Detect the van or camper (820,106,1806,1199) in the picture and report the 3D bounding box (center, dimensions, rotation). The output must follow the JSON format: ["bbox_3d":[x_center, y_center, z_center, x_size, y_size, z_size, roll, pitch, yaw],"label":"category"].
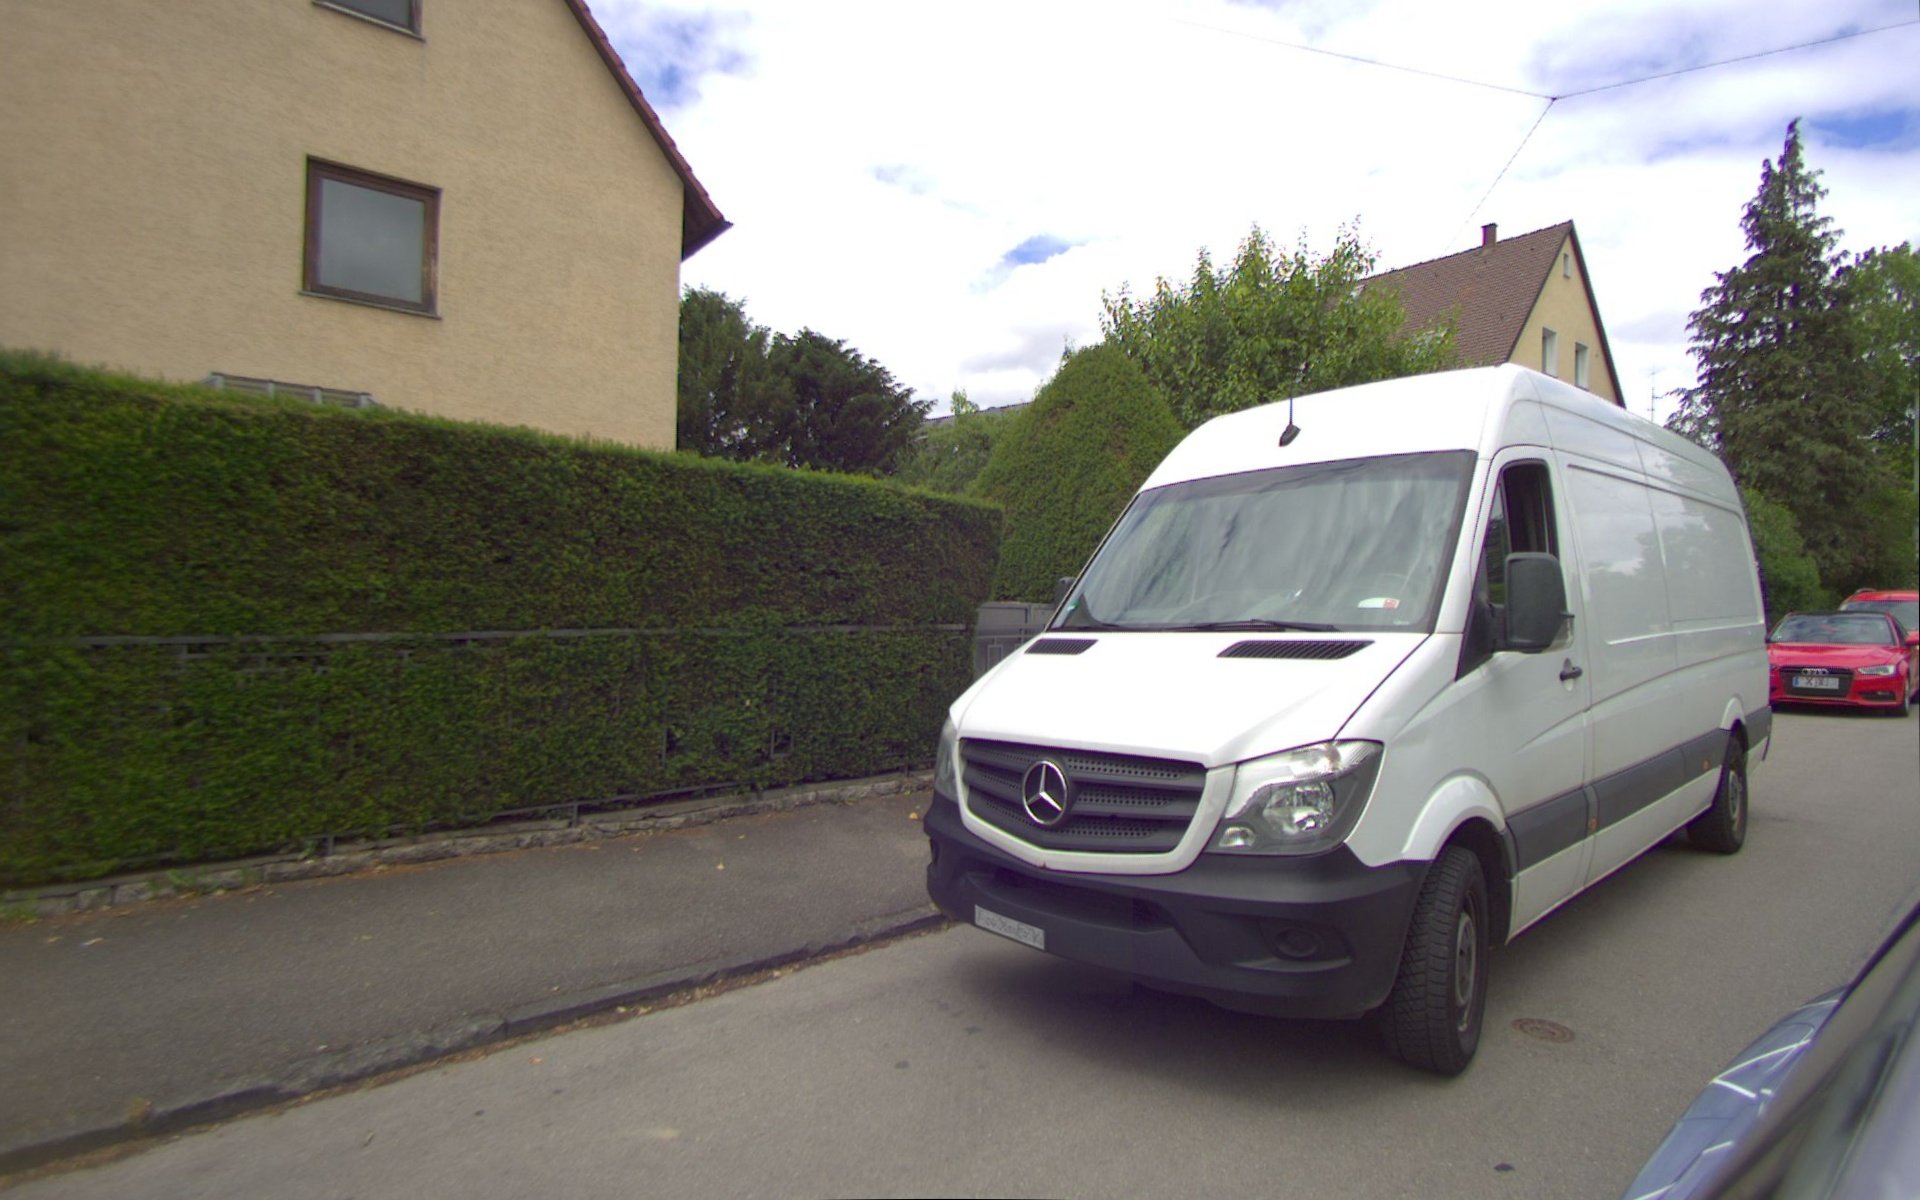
[{"bbox_3d":[2.687,0.162,5.498,6.920,2.653,2.043,0,-1,-43],"label":"van or camper"}]

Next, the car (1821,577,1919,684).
[{"bbox_3d":[17.486,0.515,18.580,4.085,1.788,1.771,0,-1,-38],"label":"car"}]

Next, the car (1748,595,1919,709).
[{"bbox_3d":[13.141,0.662,14.892,4.319,1.448,1.702,0,-1,-42],"label":"car"}]
